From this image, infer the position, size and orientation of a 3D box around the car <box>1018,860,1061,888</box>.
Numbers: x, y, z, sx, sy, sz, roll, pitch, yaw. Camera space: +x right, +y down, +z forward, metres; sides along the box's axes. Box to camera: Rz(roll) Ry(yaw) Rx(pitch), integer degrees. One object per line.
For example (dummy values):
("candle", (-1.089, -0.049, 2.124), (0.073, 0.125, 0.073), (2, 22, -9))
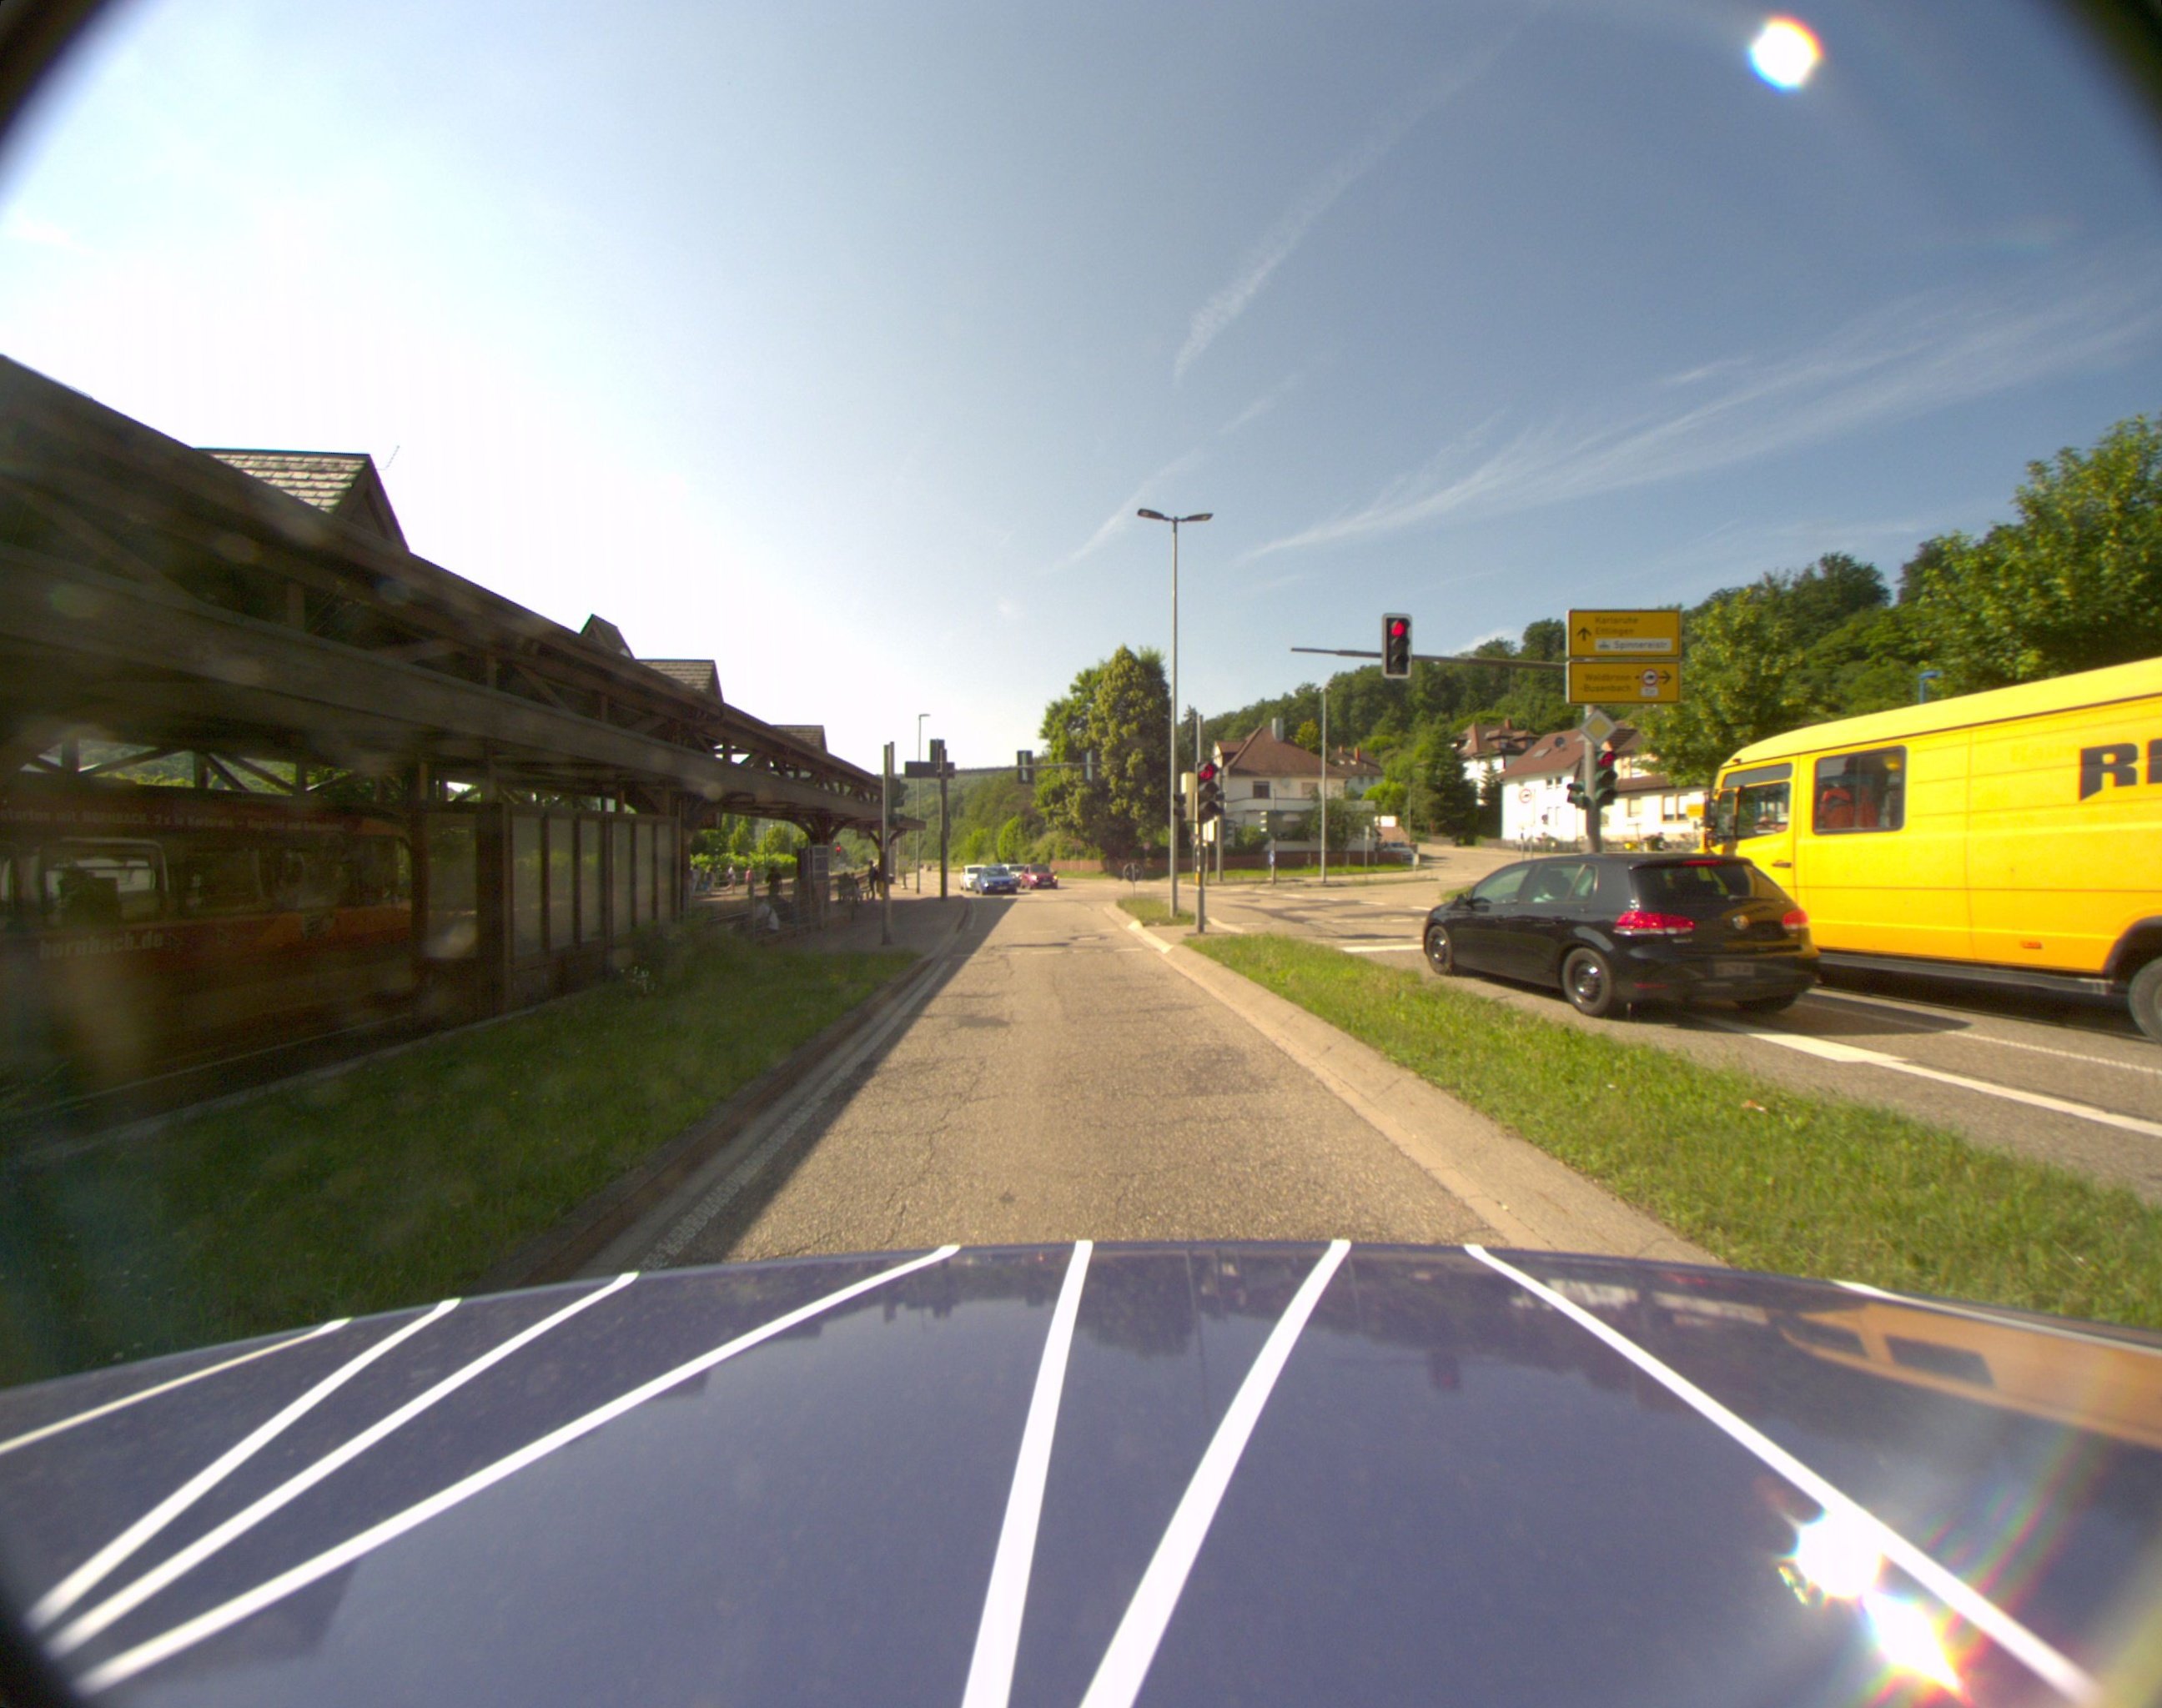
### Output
("car", (-2.461, 1.140, 44.333), (1.663, 1.525, 3.950), (-2, -1, -15))

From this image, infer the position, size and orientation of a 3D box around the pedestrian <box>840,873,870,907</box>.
("pedestrian", (-8.529, 1.342, 28.665), (0.994, 1.228, 0.596), (-3, -1, -13))

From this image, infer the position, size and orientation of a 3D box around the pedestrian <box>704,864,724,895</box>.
("pedestrian", (-20.943, 1.459, 43.421), (0.905, 1.674, 0.821), (-3, -1, -23))

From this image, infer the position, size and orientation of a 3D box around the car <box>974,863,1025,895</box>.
("car", (-4.188, 1.223, 38.556), (1.867, 1.474, 4.296), (-1, 0, -15))

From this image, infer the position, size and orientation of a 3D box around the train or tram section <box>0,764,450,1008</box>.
("train or tram section", (-16.316, 0.483, 11.072), (2.864, 3.345, 14.349), (-2, 0, -3))

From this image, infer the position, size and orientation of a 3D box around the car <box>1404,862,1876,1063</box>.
("car", (5.122, 0.837, 7.792), (1.750, 1.454, 4.042), (-1, 0, -2))

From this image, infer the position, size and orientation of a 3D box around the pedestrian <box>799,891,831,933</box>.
("pedestrian", (-6.411, 1.397, 18.315), (0.619, 0.960, 0.406), (-3, -1, -7))

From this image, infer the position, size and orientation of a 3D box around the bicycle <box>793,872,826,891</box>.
("bicycle", (-17.105, 1.741, 47.895), (1.814, 1.049, 0.603), (-3, 1, -11))

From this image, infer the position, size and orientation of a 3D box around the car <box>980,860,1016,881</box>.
("car", (-6.360, 1.262, 57.958), (1.982, 1.495, 3.982), (-2, -1, -17))

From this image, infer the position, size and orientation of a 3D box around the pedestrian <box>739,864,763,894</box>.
("pedestrian", (-19.697, 1.486, 45.351), (0.902, 1.674, 0.824), (-3, -1, 25))

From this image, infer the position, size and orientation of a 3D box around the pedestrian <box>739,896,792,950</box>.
("pedestrian", (-6.329, 1.371, 15.281), (0.744, 0.976, 0.769), (-3, -1, -7))

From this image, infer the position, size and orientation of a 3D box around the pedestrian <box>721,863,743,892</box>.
("pedestrian", (-20.881, 1.380, 45.487), (0.868, 1.674, 0.822), (-3, -1, -6))

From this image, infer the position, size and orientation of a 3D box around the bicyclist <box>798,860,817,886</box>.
("bicyclist", (-17.223, 1.177, 47.863), (0.947, 1.559, 0.786), (-3, 1, -9))

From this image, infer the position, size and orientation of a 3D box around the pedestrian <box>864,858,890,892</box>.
("pedestrian", (-10.627, 1.111, 39.606), (0.918, 1.726, 1.249), (-3, -1, -30))

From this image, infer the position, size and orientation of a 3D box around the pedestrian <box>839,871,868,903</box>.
("pedestrian", (-8.925, 1.281, 29.842), (1.010, 1.153, 0.948), (-2, 1, -13))

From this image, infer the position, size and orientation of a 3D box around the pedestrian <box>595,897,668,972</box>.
("pedestrian", (-7.191, 1.270, 12.183), (0.744, 1.110, 0.667), (-3, -1, -7))

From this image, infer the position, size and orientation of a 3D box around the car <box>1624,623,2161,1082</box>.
("car", (8.226, -0.056, 6.324), (2.474, 2.993, 6.464), (-3, 0, -3))

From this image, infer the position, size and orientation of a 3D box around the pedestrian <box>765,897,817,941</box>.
("pedestrian", (-6.380, 1.429, 16.757), (0.847, 0.869, 0.807), (-3, -1, -7))

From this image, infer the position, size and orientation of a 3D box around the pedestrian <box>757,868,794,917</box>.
("pedestrian", (-9.857, 1.228, 24.571), (0.863, 1.538, 0.922), (-1, -1, -5))

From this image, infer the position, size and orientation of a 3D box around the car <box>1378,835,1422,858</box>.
("car", (26.116, -0.580, 62.384), (1.939, 1.627, 4.001), (-3, -1, 2))

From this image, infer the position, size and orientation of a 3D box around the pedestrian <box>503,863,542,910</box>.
("pedestrian", (-20.874, 1.206, 28.418), (0.736, 1.674, 0.904), (-3, -1, 0))

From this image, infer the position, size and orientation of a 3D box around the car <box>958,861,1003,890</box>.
("car", (-6.105, 1.255, 45.713), (2.001, 1.575, 3.995), (-3, 0, -17))

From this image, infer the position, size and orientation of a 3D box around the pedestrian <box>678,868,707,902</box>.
("pedestrian", (-21.659, 1.719, 42.380), (0.990, 1.831, 1.074), (-2, -1, 0))

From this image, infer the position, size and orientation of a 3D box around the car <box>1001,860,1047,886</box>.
("car", (-3.828, 1.266, 50.172), (1.982, 1.495, 4.745), (-2, -1, -17))

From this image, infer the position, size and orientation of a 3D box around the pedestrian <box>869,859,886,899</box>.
("pedestrian", (-8.719, 1.070, 32.532), (0.659, 1.682, 0.738), (-1, 0, -13))

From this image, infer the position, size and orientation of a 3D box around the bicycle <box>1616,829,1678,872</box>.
("bicycle", (18.428, -0.084, 24.791), (0.620, 1.247, 1.758), (-6, -2, 2))
